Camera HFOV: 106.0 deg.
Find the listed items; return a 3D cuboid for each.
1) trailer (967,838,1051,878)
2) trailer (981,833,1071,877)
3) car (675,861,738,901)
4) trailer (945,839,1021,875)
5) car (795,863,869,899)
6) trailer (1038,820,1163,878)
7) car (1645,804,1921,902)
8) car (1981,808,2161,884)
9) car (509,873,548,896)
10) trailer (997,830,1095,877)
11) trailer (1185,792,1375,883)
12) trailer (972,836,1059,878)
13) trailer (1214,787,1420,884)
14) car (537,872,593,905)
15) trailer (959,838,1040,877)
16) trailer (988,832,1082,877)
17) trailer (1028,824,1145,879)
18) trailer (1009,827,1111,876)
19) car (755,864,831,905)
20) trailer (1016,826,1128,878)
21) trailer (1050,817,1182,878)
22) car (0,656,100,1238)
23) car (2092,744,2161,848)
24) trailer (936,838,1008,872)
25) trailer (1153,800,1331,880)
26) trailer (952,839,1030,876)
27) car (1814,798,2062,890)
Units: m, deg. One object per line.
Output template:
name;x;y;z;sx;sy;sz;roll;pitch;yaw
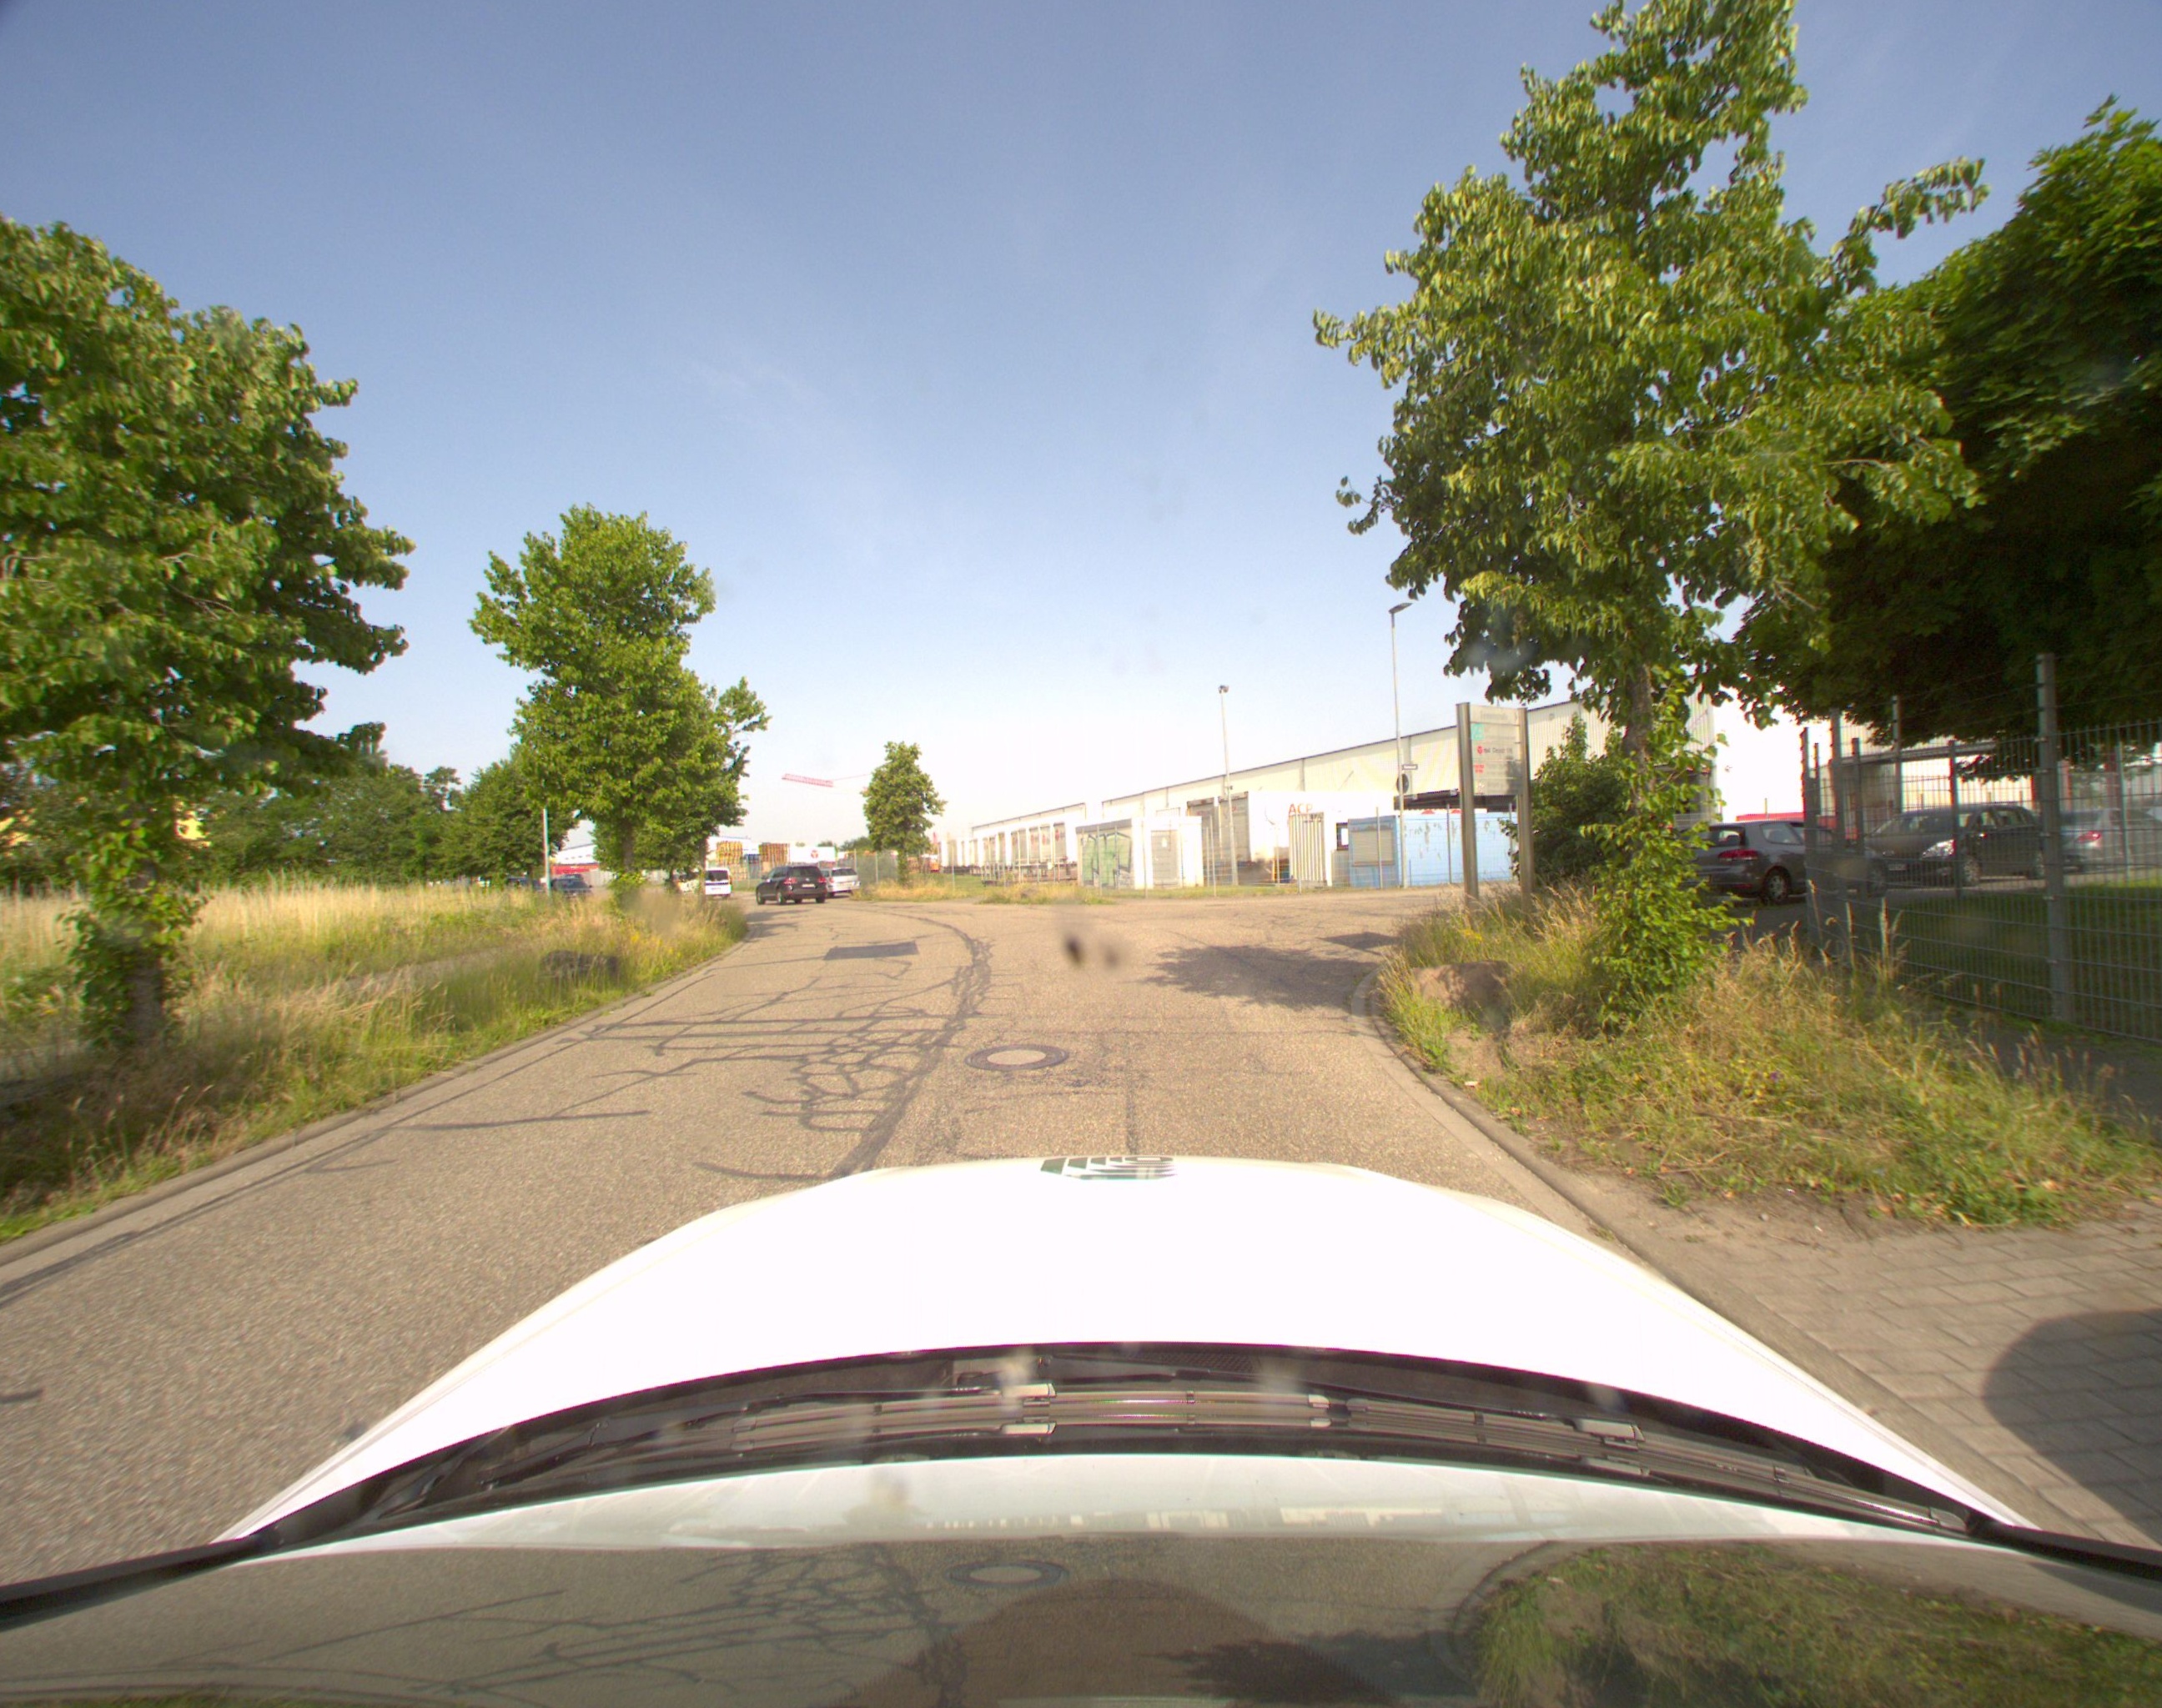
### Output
trailer;-7.208;0.382;82.050;7.995;3.894;2.755;0;-1;-22
trailer;-5.091;0.113;75.785;7.995;3.894;2.755;0;-1;-22
car;-21.542;1.560;46.743;2.139;2.110;4.570;-2;-1;-40
trailer;-10.873;0.363;90.665;7.995;3.894;2.755;0;-1;-22
car;-12.569;1.354;40.921;1.815;1.626;4.396;-4;1;-41
trailer;1.411;-0.345;57.902;8.570;3.894;2.755;0;-1;-22
car;12.466;0.000;14.535;3.955;1.524;1.719;-2;-3;-15
car;22.915;-0.195;18.393;4.490;1.518;1.717;-2;-3;-18
car;-38.134;2.096;56.198;1.848;1.496;4.001;0;-2;-40
trailer;-3.008;-0.019;70.149;7.995;3.894;2.755;0;-1;-22
trailer;9.482;-0.818;38.643;8.567;3.893;2.756;-3;0;-21
trailer;-6.344;0.303;78.719;7.995;3.894;2.755;0;-1;-22
trailer;10.398;-0.831;35.799;8.565;3.894;2.756;-2;-3;-20
car;-27.495;1.793;43.335;1.919;1.626;4.396;0;-2;-40
trailer;-8.511;0.374;84.888;7.995;3.894;2.755;0;-1;-22
trailer;-4.125;0.058;72.928;7.995;3.894;2.755;0;-1;-22
trailer;0.429;-0.157;60.824;8.341;3.894;2.755;0;-1;-22
trailer;-1.708;-0.179;67.483;8.066;3.894;2.755;0;-1;-22
car;-12.469;1.314;35.116;1.896;1.586;4.066;-2;-1;-38
trailer;-0.664;-0.141;63.663;8.341;3.894;2.755;0;-1;-22
trailer;2.415;-0.431;55.045;8.570;3.894;2.755;0;-1;-22
car;-5.814;0.414;0.710;2.096;2.595;6.500;0;0;-1
car;29.923;-1.578;21.134;6.845;2.484;2.194;-2;-3;-18
trailer;-12.865;0.159;96.242;7.995;3.894;2.722;0;-1;-22
trailer;8.229;-0.722;41.479;8.767;3.761;2.770;-1;-1;-22
trailer;-9.682;0.349;87.923;7.995;3.894;2.755;0;-1;-22
car;17.423;-0.197;16.587;4.269;1.626;1.864;-2;-3;-20
